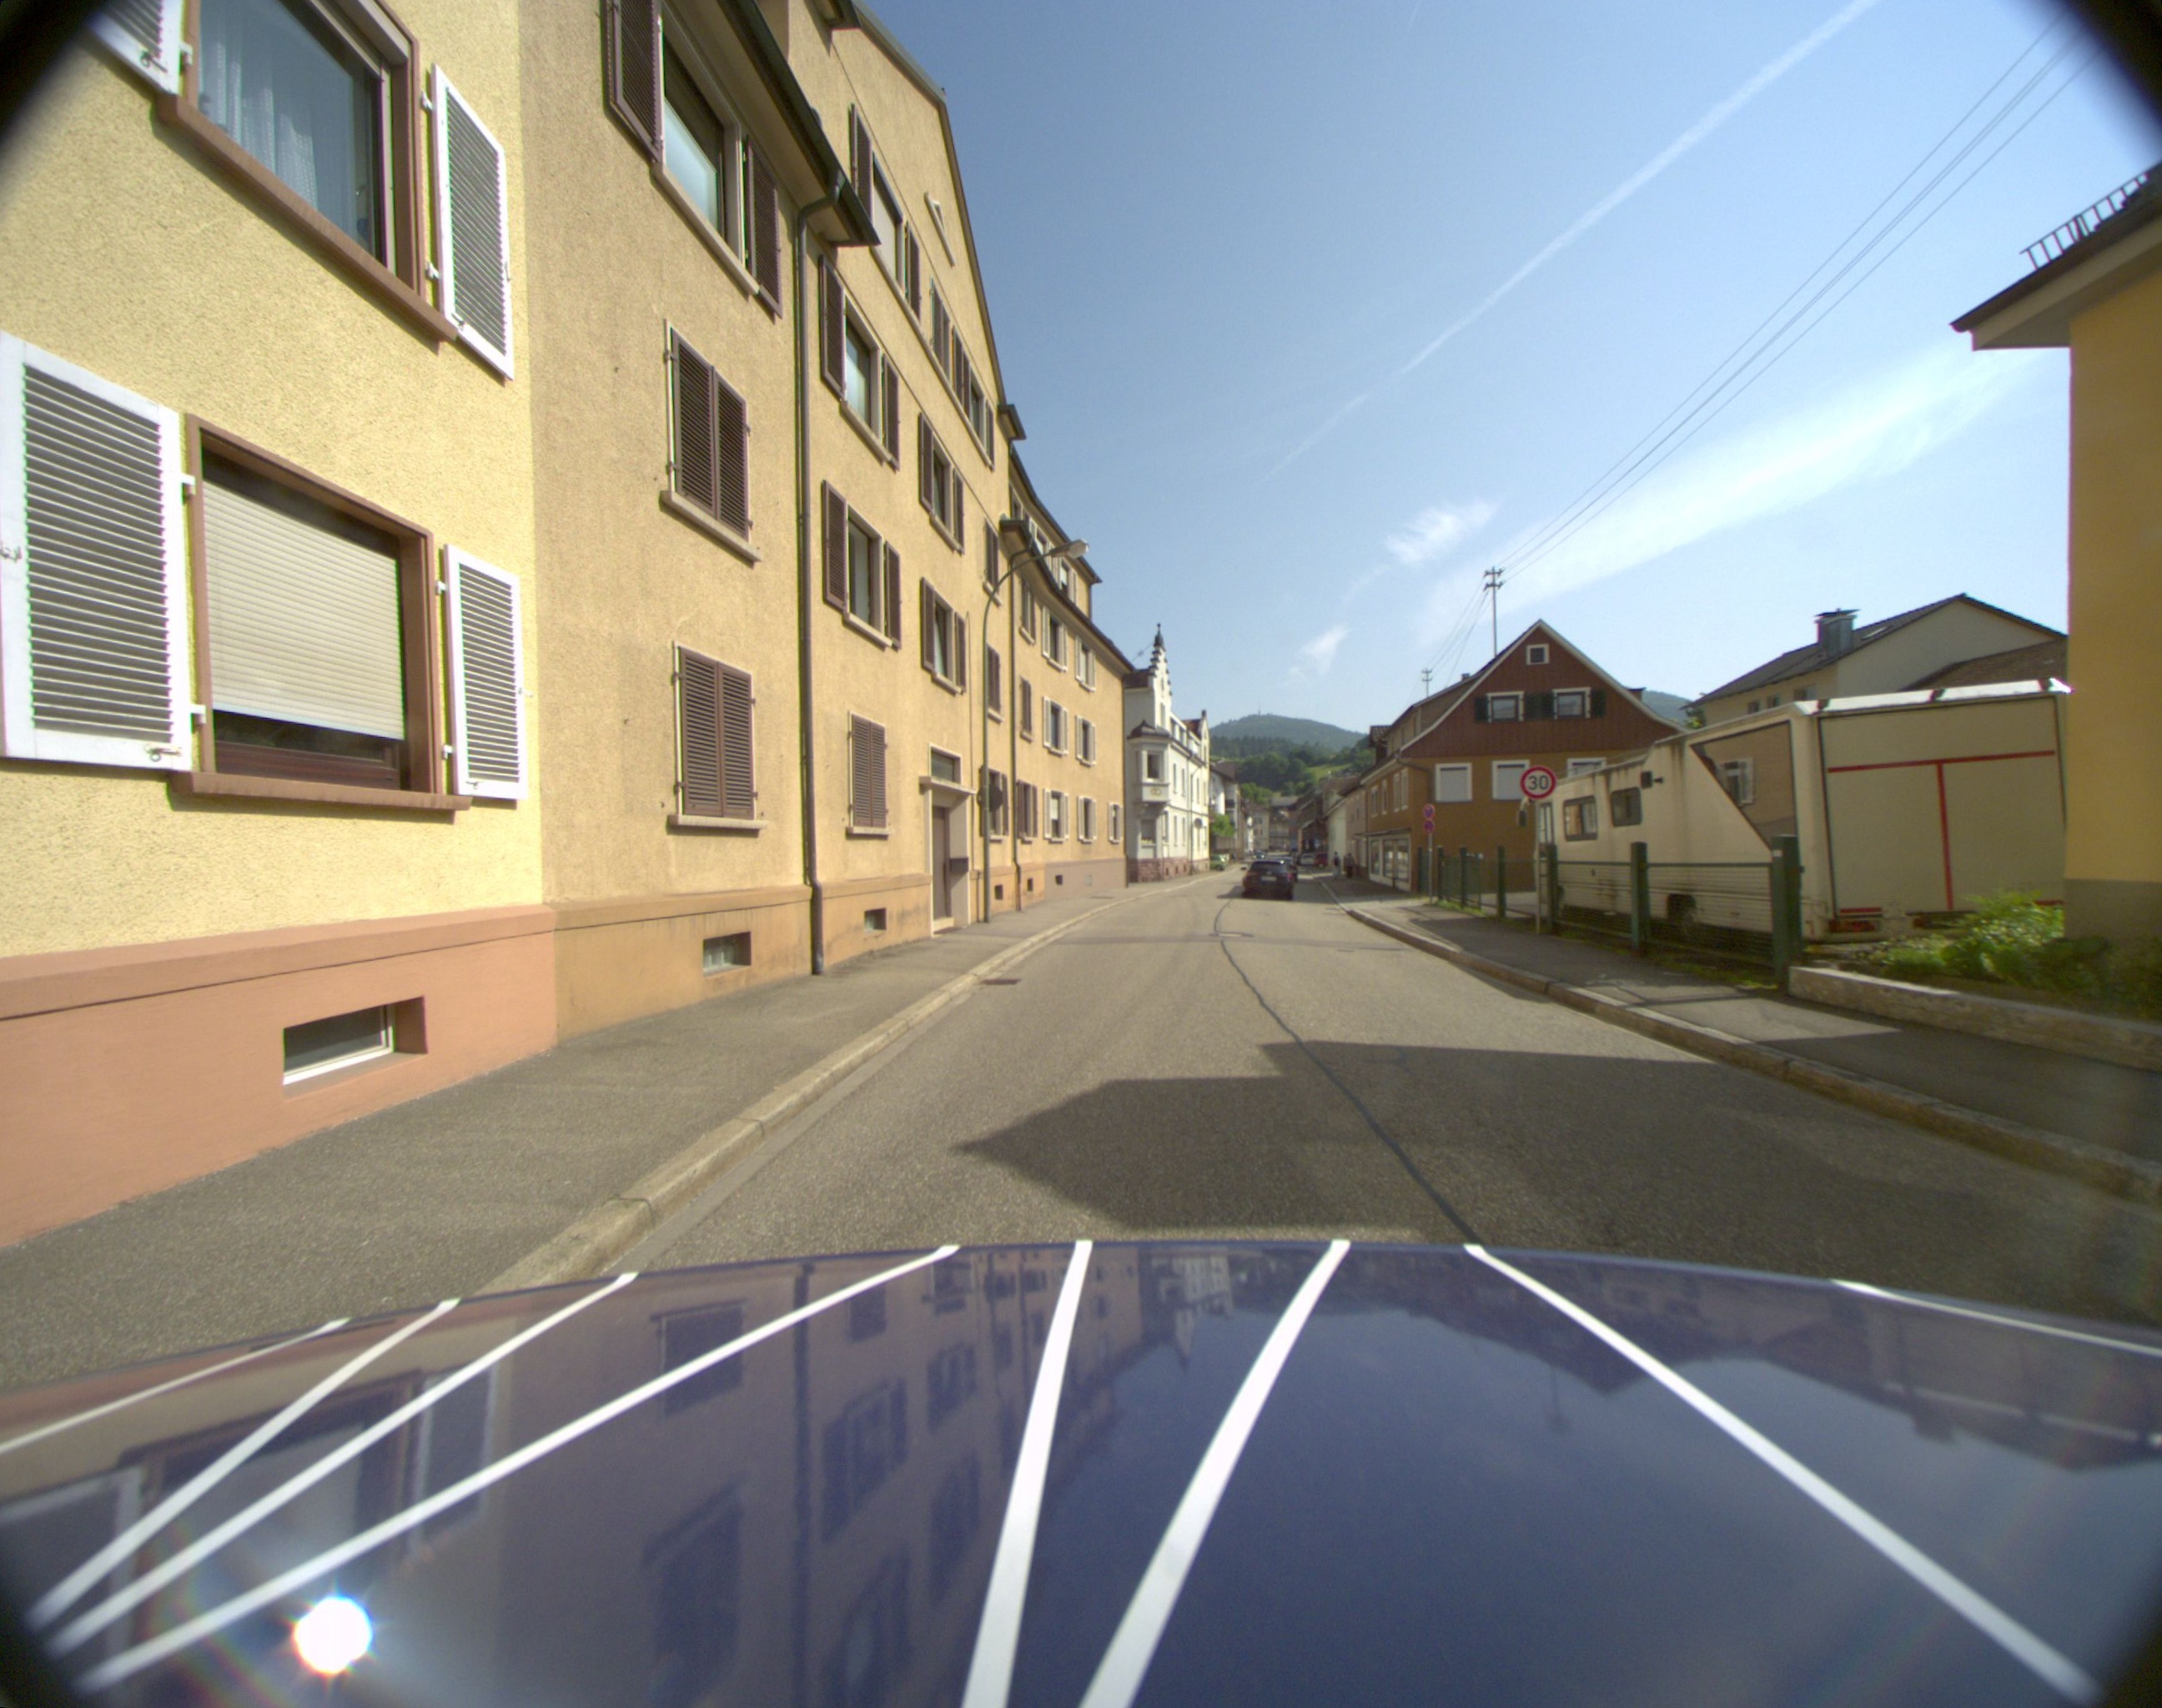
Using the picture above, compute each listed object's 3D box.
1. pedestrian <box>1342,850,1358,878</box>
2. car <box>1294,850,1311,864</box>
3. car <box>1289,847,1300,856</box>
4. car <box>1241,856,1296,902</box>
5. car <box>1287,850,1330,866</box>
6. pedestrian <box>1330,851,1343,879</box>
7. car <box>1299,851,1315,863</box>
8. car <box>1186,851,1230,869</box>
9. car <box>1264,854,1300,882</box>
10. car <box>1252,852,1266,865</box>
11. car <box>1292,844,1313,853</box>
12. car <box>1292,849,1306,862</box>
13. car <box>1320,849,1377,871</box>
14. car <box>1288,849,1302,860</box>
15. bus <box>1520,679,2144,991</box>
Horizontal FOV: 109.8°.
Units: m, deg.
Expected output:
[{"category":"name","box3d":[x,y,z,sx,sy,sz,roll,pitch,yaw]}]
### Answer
[{"category":"pedestrian","box3d":[15.729,0.571,44.438,0.736,1.555,0.825,-2,0,15]},{"category":"car","box3d":[27.971,0.353,96.170,1.723,1.786,4.273,-1,0,12]},{"category":"car","box3d":[42.129,-0.506,149.970,1.785,1.566,3.892,-3,0,13]},{"category":"car","box3d":[6.909,0.854,27.749,1.660,1.441,4.264,3,1,17]},{"category":"car","box3d":[23.319,0.440,77.907,3.990,1.652,1.827,-1,-1,24]},{"category":"pedestrian","box3d":[15.016,0.628,44.671,0.640,1.617,0.778,-3,0,16]},{"category":"car","box3d":[27.433,0.352,92.387,1.668,1.423,3.573,-2,-1,15]},{"category":"car","box3d":[11.554,0.539,69.361,3.650,1.456,1.604,3,2,21]},{"category":"car","box3d":[11.699,0.788,44.412,1.750,1.445,4.031,3,1,12]},{"category":"car","box3d":[28.673,0.698,122.518,1.997,2.002,4.003,-2,1,10]},{"category":"car","box3d":[46.061,-1.153,158.279,3.995,1.674,1.836,0,-1,6]},{"category":"car","box3d":[29.313,0.204,102.246,1.677,1.580,3.953,-1,0,13]},{"category":"car","box3d":[21.048,0.437,59.994,3.993,1.584,1.909,-2,0,12]},{"category":"car","box3d":[30.957,0.014,109.850,1.676,1.546,3.768,-1,0,13]},{"category":"bus","box3d":[10.534,-0.169,12.611,2.825,3.209,9.044,-3,0,12]}]
